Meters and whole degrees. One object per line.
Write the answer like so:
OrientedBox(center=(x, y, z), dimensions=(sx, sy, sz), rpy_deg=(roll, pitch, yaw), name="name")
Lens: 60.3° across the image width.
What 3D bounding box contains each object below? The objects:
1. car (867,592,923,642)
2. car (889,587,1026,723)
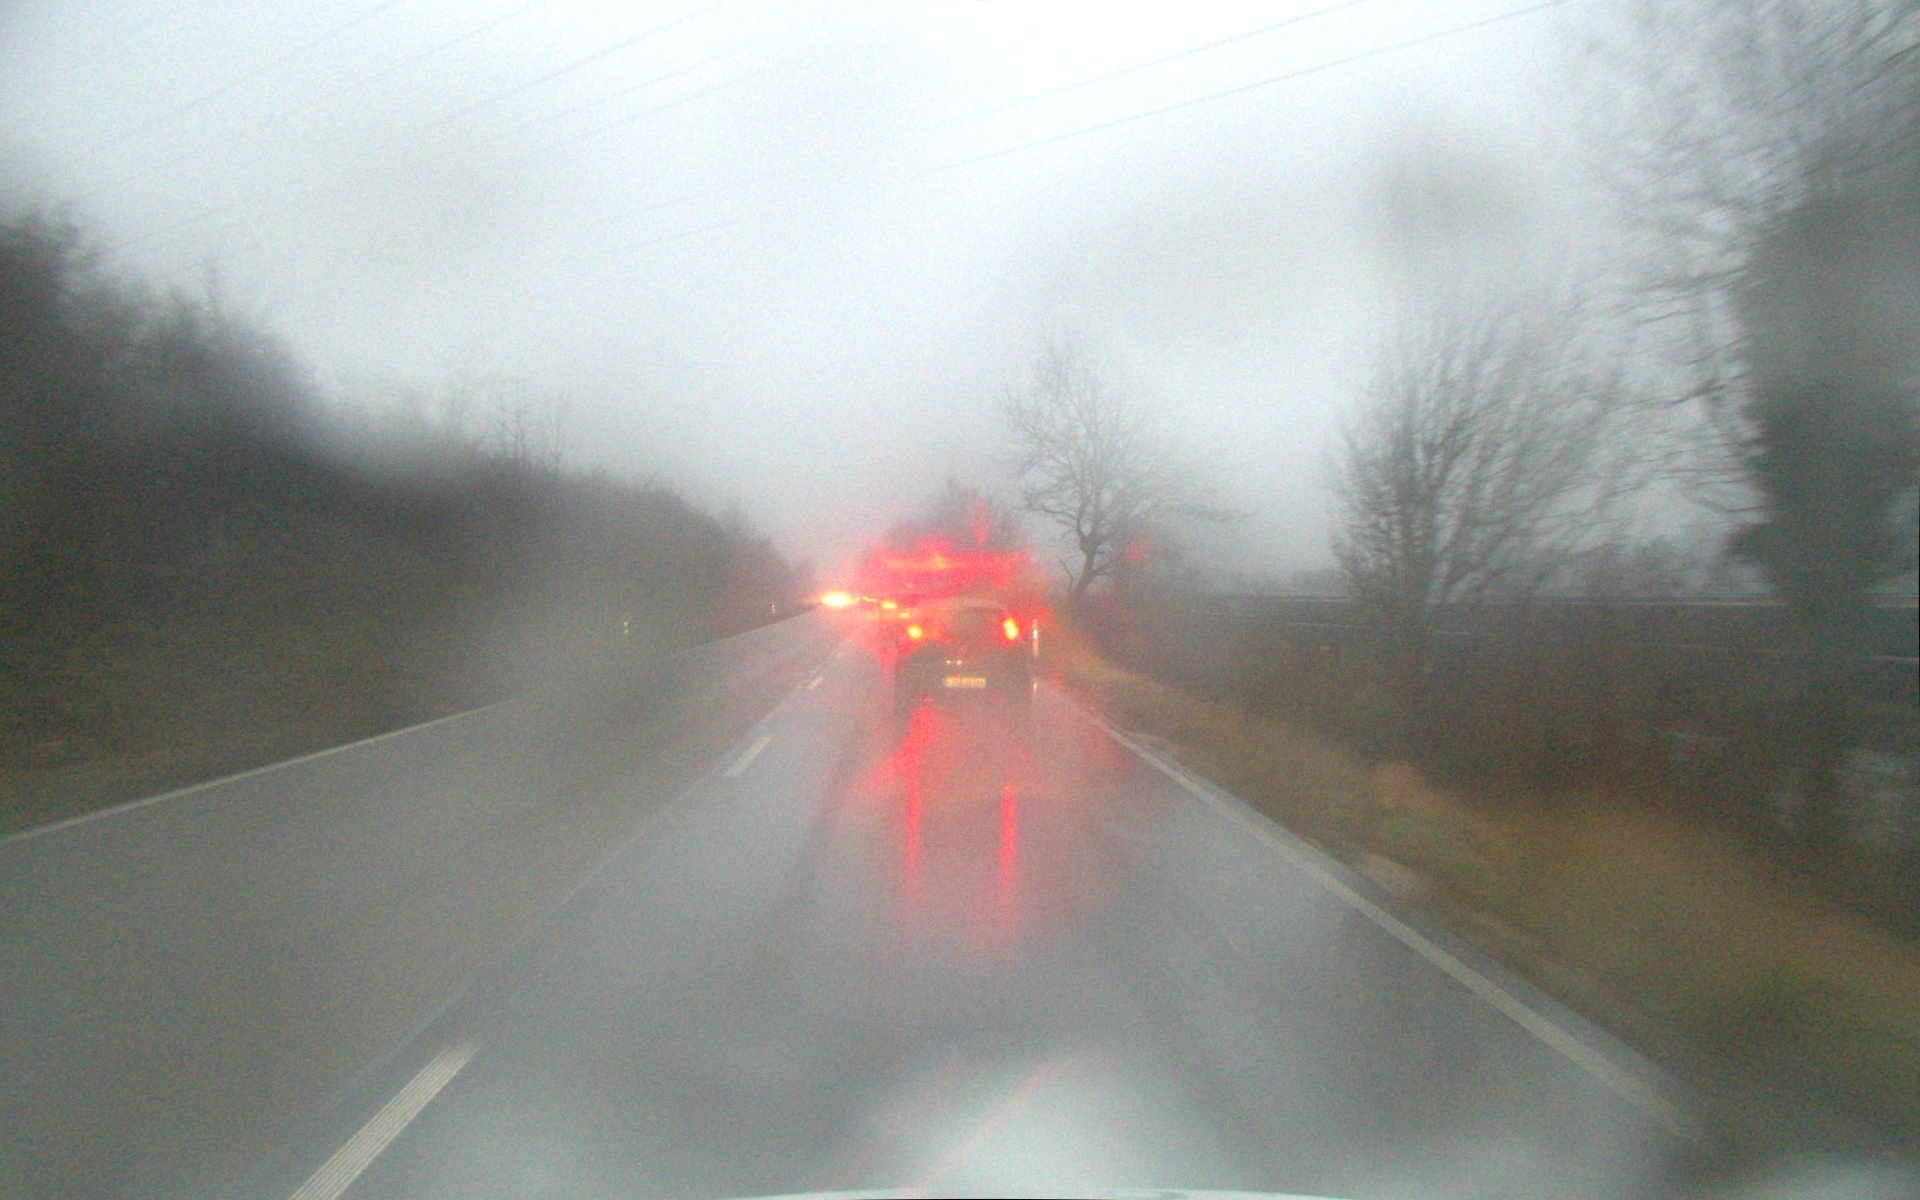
OrientedBox(center=(-1.918, 0.474, 49.694), dimensions=(1.515, 1.421, 3.869), rpy_deg=(1, 0, 0), name="car")
OrientedBox(center=(-0.006, 0.626, 21.137), dimensions=(1.569, 1.548, 3.870), rpy_deg=(1, 0, 0), name="car")
